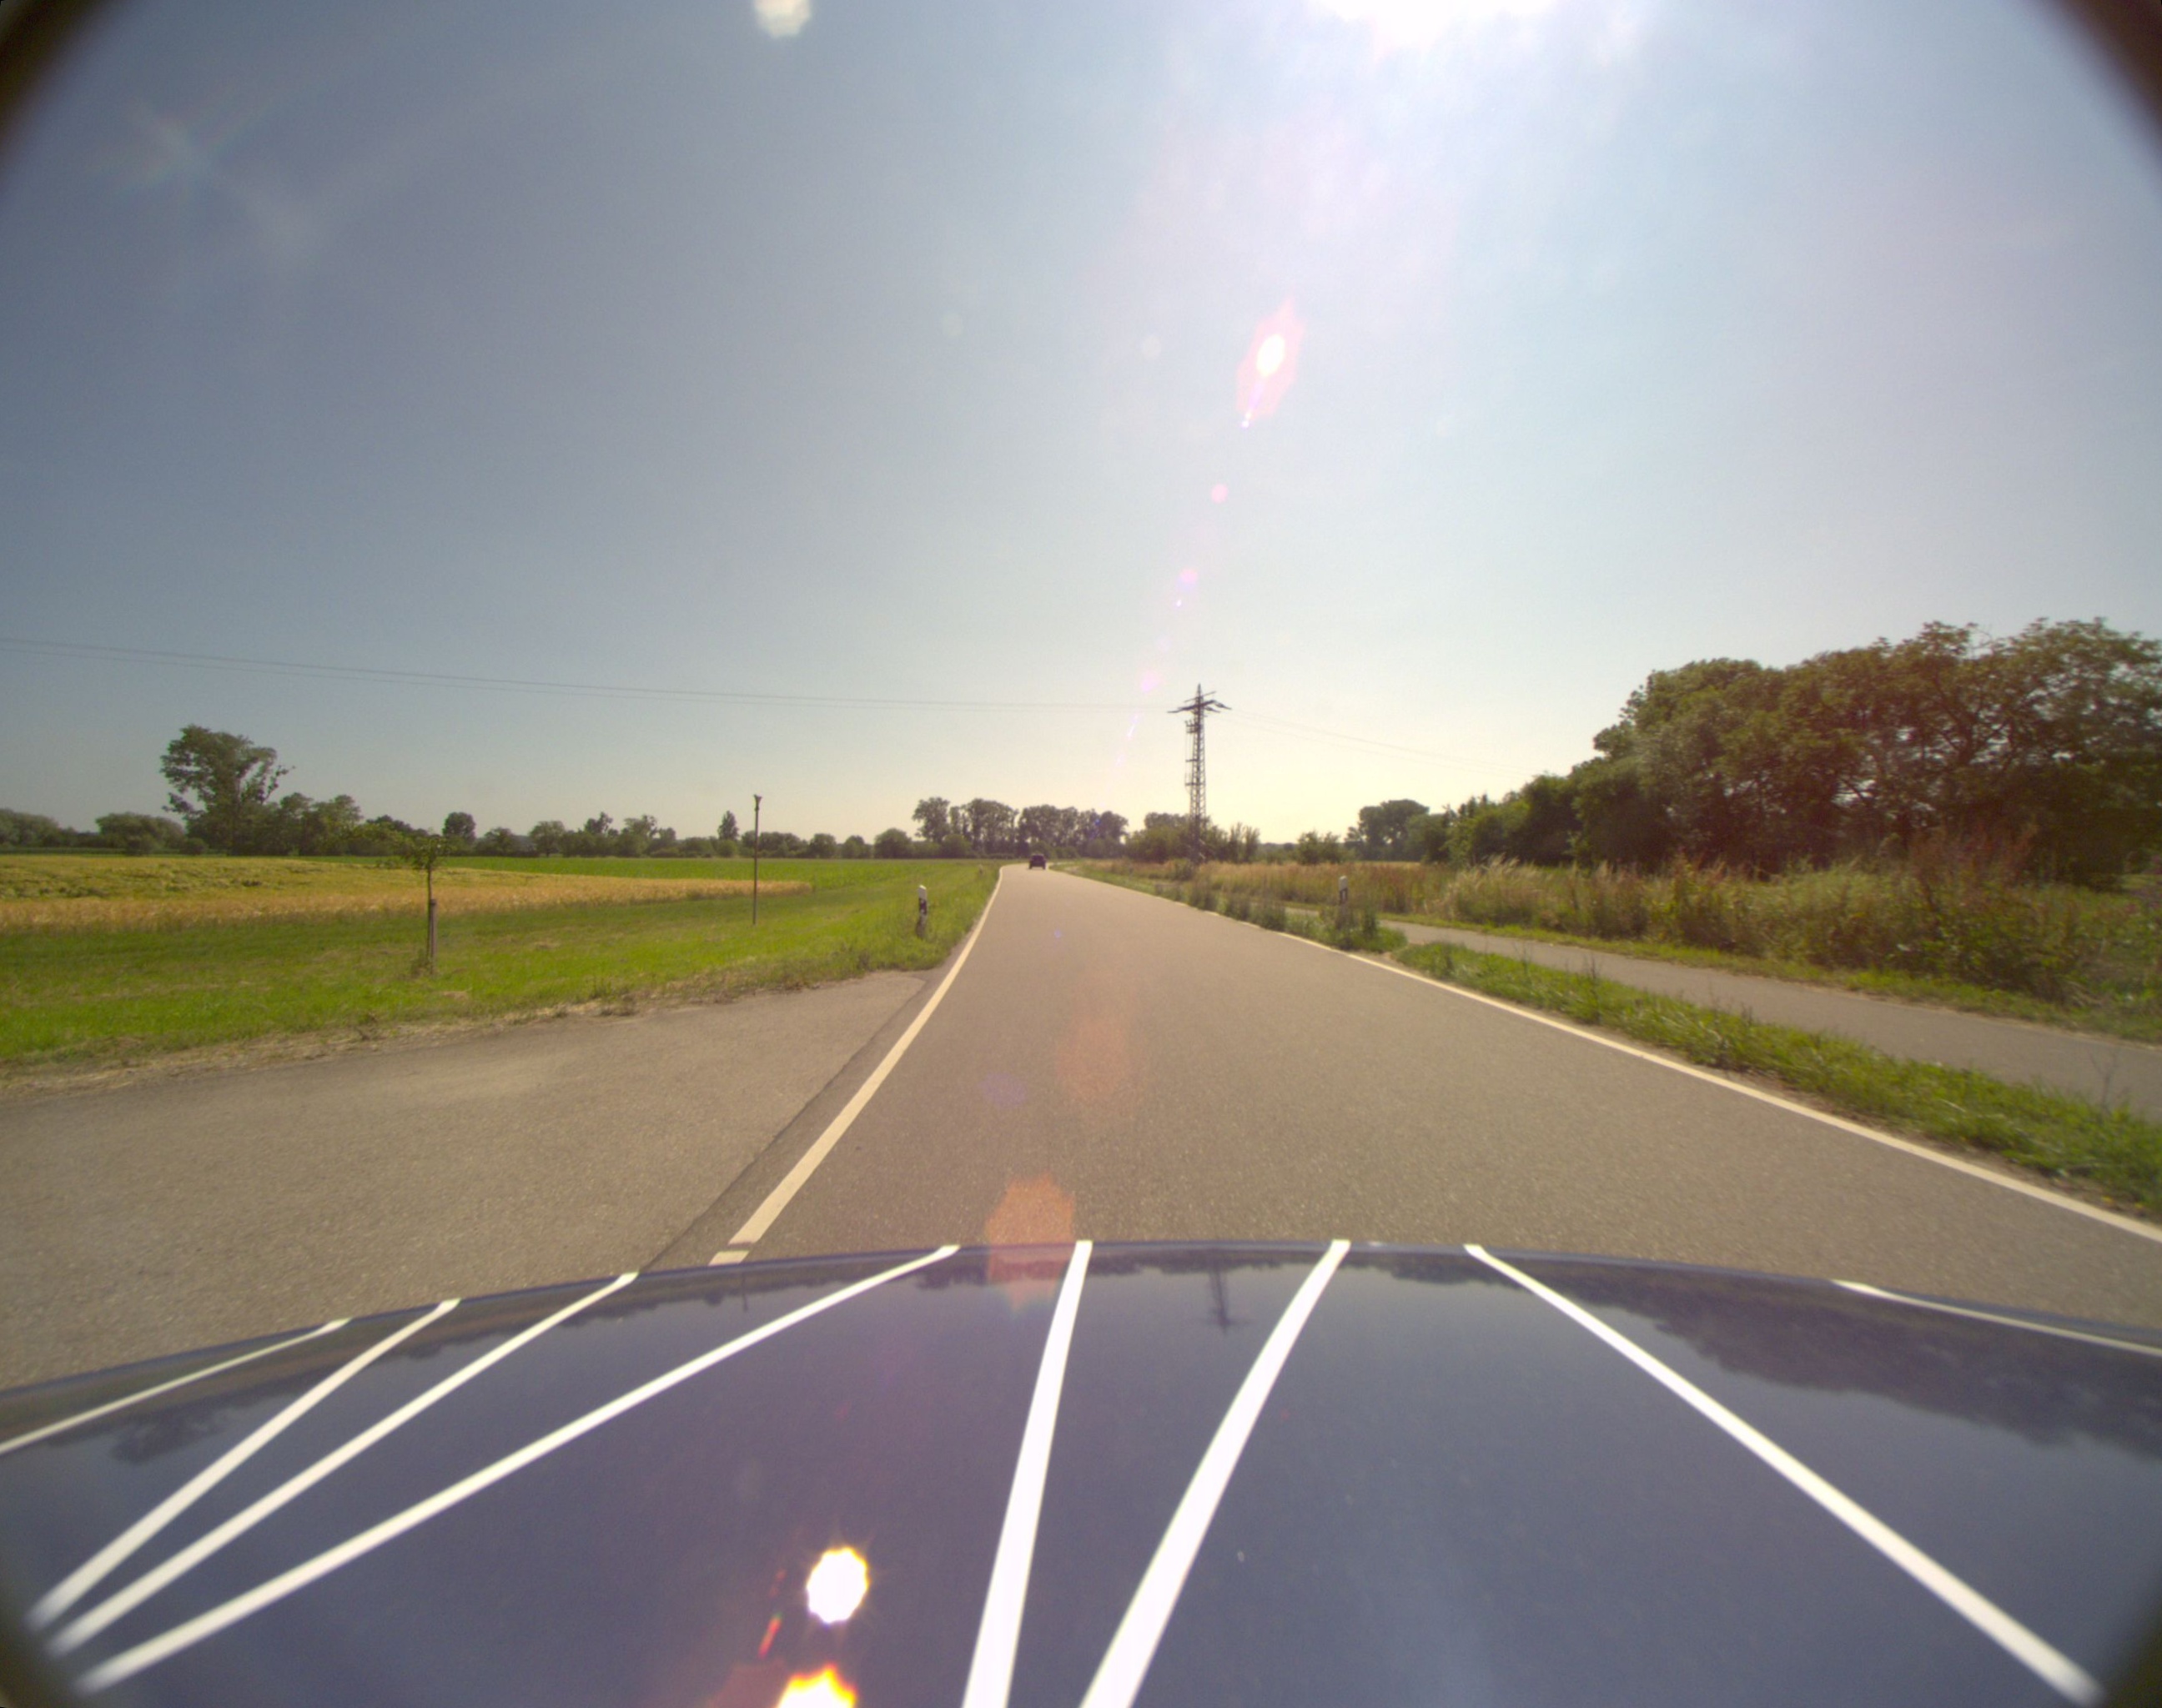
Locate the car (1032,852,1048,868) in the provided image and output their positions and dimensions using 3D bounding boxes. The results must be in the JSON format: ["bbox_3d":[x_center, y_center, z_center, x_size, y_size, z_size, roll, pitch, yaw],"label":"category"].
[{"bbox_3d":[-4.785,0.628,88.438,1.871,1.742,4.295,1,0,-3],"label":"car"}]
